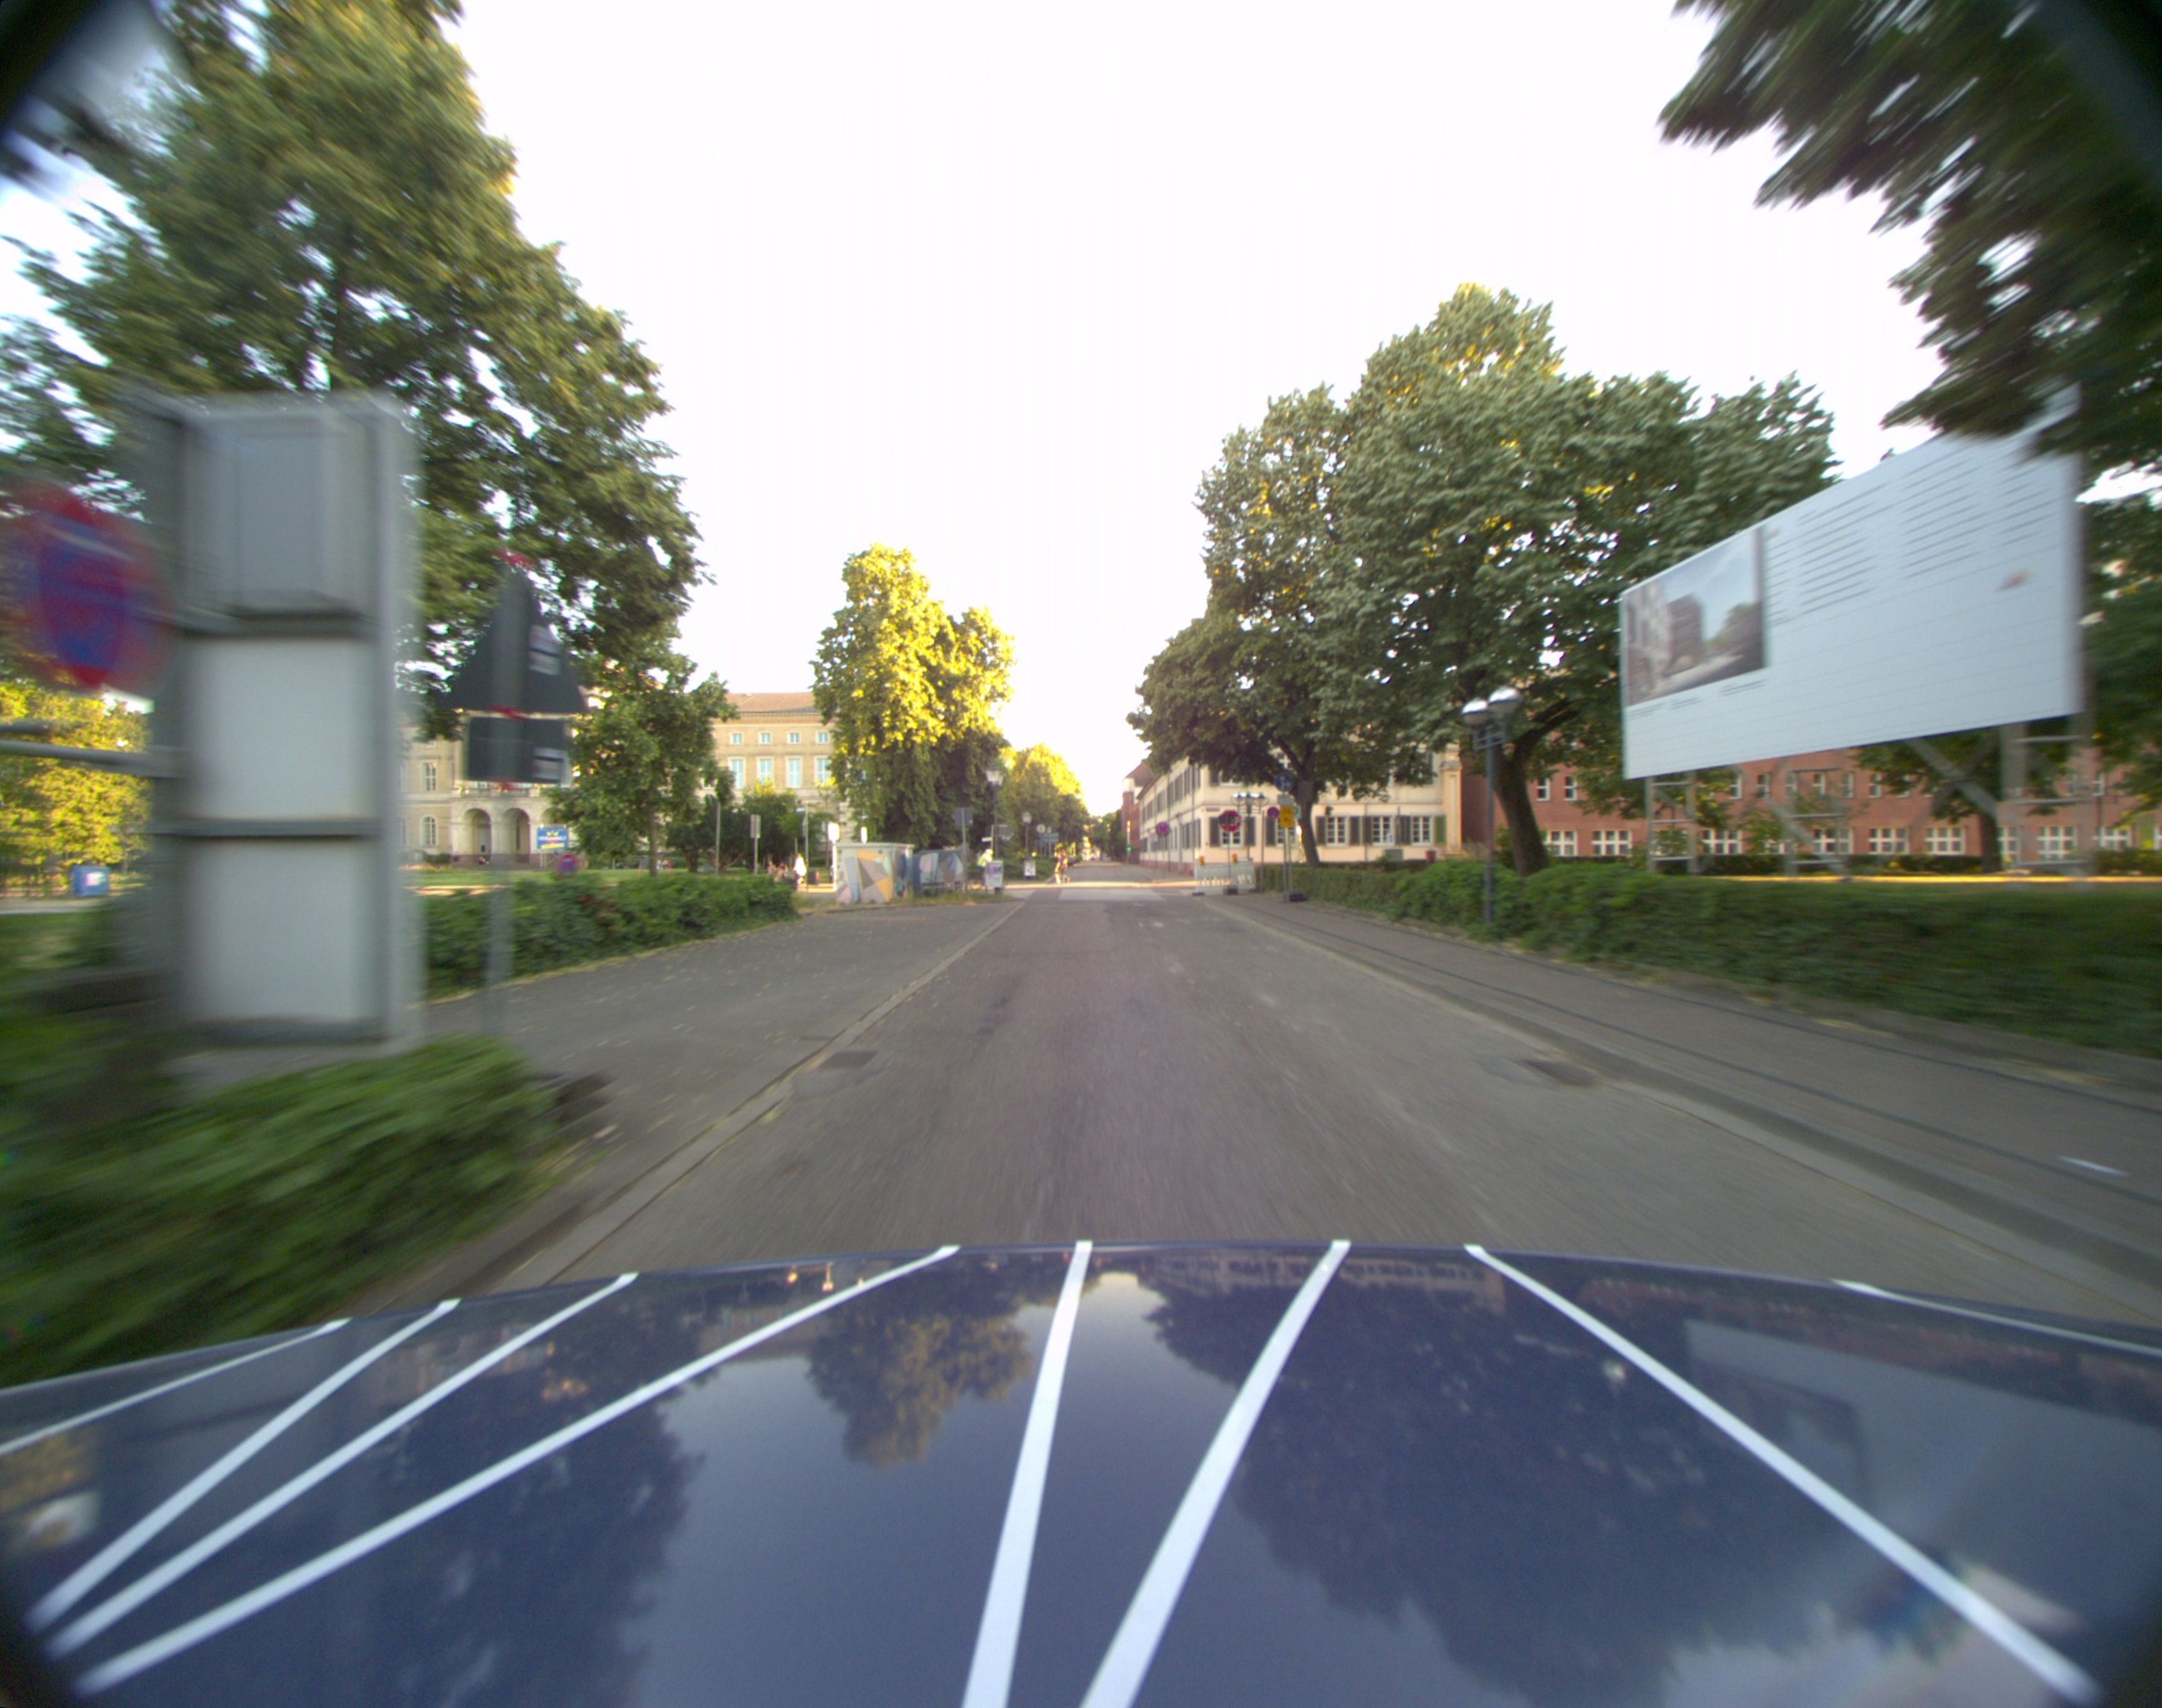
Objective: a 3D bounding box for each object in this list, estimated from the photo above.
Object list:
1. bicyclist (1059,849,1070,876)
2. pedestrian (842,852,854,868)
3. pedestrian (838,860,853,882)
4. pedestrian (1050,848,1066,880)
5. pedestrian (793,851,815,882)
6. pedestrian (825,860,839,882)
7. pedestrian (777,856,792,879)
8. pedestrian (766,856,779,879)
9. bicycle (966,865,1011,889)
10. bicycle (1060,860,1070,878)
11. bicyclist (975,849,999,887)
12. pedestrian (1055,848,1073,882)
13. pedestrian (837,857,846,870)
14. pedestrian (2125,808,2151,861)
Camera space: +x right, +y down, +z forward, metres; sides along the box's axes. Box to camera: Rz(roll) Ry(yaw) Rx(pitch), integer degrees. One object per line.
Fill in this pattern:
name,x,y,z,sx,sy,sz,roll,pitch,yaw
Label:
bicyclist,-1.099,0.570,51.249,0.672,1.793,1.060,-1,0,-2
pedestrian,-21.239,0.508,69.250,0.754,1.435,0.816,-1,1,-34
pedestrian,-12.939,0.933,41.735,0.608,1.197,0.666,-1,1,-5
pedestrian,-1.216,0.530,40.640,0.859,1.730,0.649,0,1,-2
pedestrian,-14.569,0.634,39.980,0.859,1.616,0.757,0,1,-5
pedestrian,-13.640,0.920,41.669,0.528,1.197,0.970,-1,0,-5
pedestrian,-16.230,0.731,41.613,0.608,1.207,0.666,-1,1,-5
pedestrian,-16.895,0.738,41.587,0.500,1.207,0.592,-1,1,-5
bicycle,-4.002,0.988,32.862,1.900,1.033,0.581,0,1,-2
bicycle,-1.094,0.989,51.232,0.653,1.175,2.344,0,0,-2
bicyclist,-4.057,0.610,32.857,0.968,1.610,0.594,-1,1,-2
pedestrian,-0.899,0.560,39.723,0.941,1.777,0.762,0,1,-2
pedestrian,-19.597,0.762,62.089,0.605,1.102,0.394,-1,1,-44
pedestrian,40.678,-0.739,29.243,0.408,2.002,0.460,-1,0,-11
